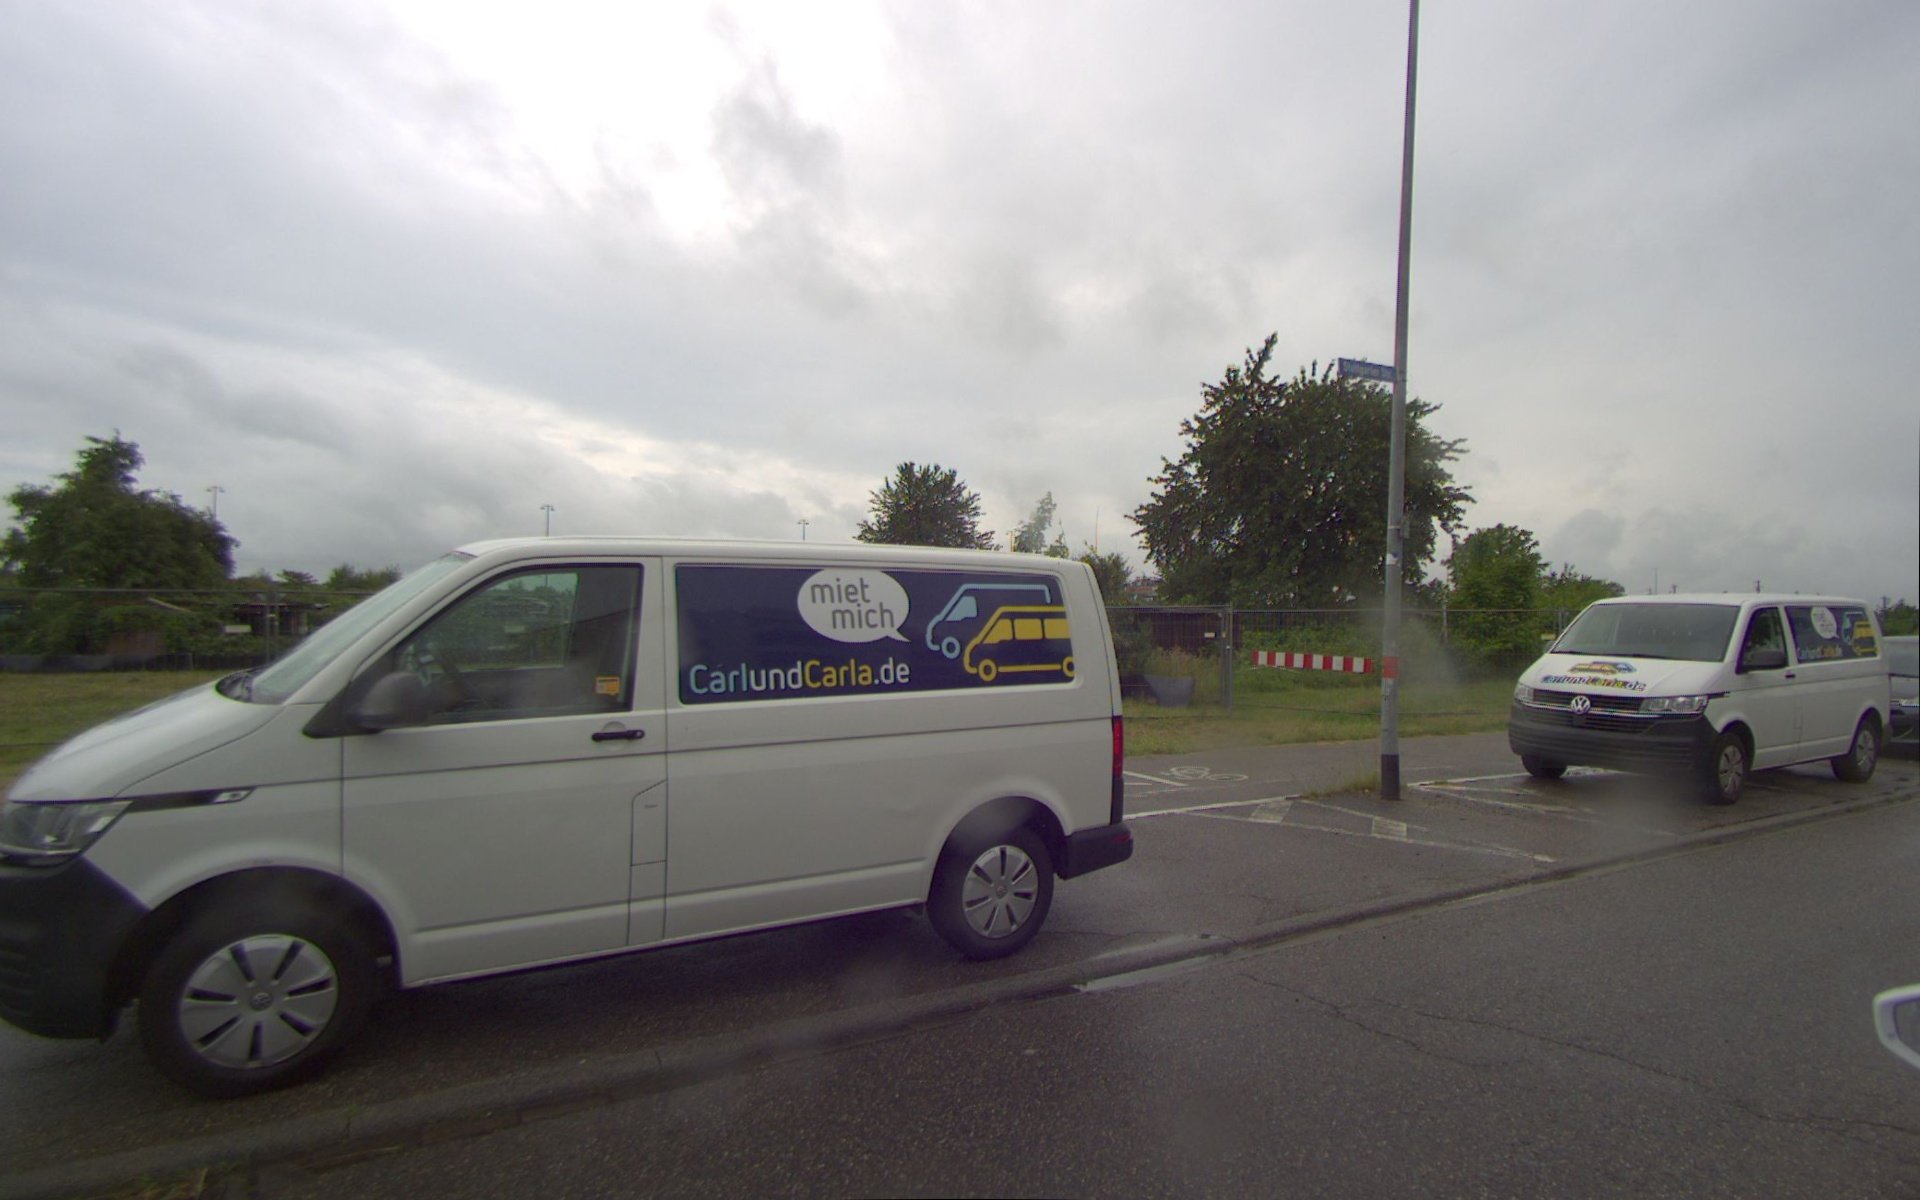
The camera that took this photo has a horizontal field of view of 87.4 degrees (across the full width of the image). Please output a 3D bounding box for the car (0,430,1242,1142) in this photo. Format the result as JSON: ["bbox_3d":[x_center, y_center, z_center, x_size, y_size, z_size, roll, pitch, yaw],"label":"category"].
[{"bbox_3d":[-1.213,0.602,4.990,5.211,2.085,1.951,1,-1,-30],"label":"car"}]

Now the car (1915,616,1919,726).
[{"bbox_3d":[17.924,1.185,16.557,4.277,1.790,1.932,1,-2,-28],"label":"car"}]

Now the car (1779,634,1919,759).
[{"bbox_3d":[13.482,1.250,13.969,4.835,1.521,1.676,2,-2,-30],"label":"car"}]

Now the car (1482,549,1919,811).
[{"bbox_3d":[8.244,0.766,10.947,5.492,2.265,1.933,1,-2,-31],"label":"car"}]
